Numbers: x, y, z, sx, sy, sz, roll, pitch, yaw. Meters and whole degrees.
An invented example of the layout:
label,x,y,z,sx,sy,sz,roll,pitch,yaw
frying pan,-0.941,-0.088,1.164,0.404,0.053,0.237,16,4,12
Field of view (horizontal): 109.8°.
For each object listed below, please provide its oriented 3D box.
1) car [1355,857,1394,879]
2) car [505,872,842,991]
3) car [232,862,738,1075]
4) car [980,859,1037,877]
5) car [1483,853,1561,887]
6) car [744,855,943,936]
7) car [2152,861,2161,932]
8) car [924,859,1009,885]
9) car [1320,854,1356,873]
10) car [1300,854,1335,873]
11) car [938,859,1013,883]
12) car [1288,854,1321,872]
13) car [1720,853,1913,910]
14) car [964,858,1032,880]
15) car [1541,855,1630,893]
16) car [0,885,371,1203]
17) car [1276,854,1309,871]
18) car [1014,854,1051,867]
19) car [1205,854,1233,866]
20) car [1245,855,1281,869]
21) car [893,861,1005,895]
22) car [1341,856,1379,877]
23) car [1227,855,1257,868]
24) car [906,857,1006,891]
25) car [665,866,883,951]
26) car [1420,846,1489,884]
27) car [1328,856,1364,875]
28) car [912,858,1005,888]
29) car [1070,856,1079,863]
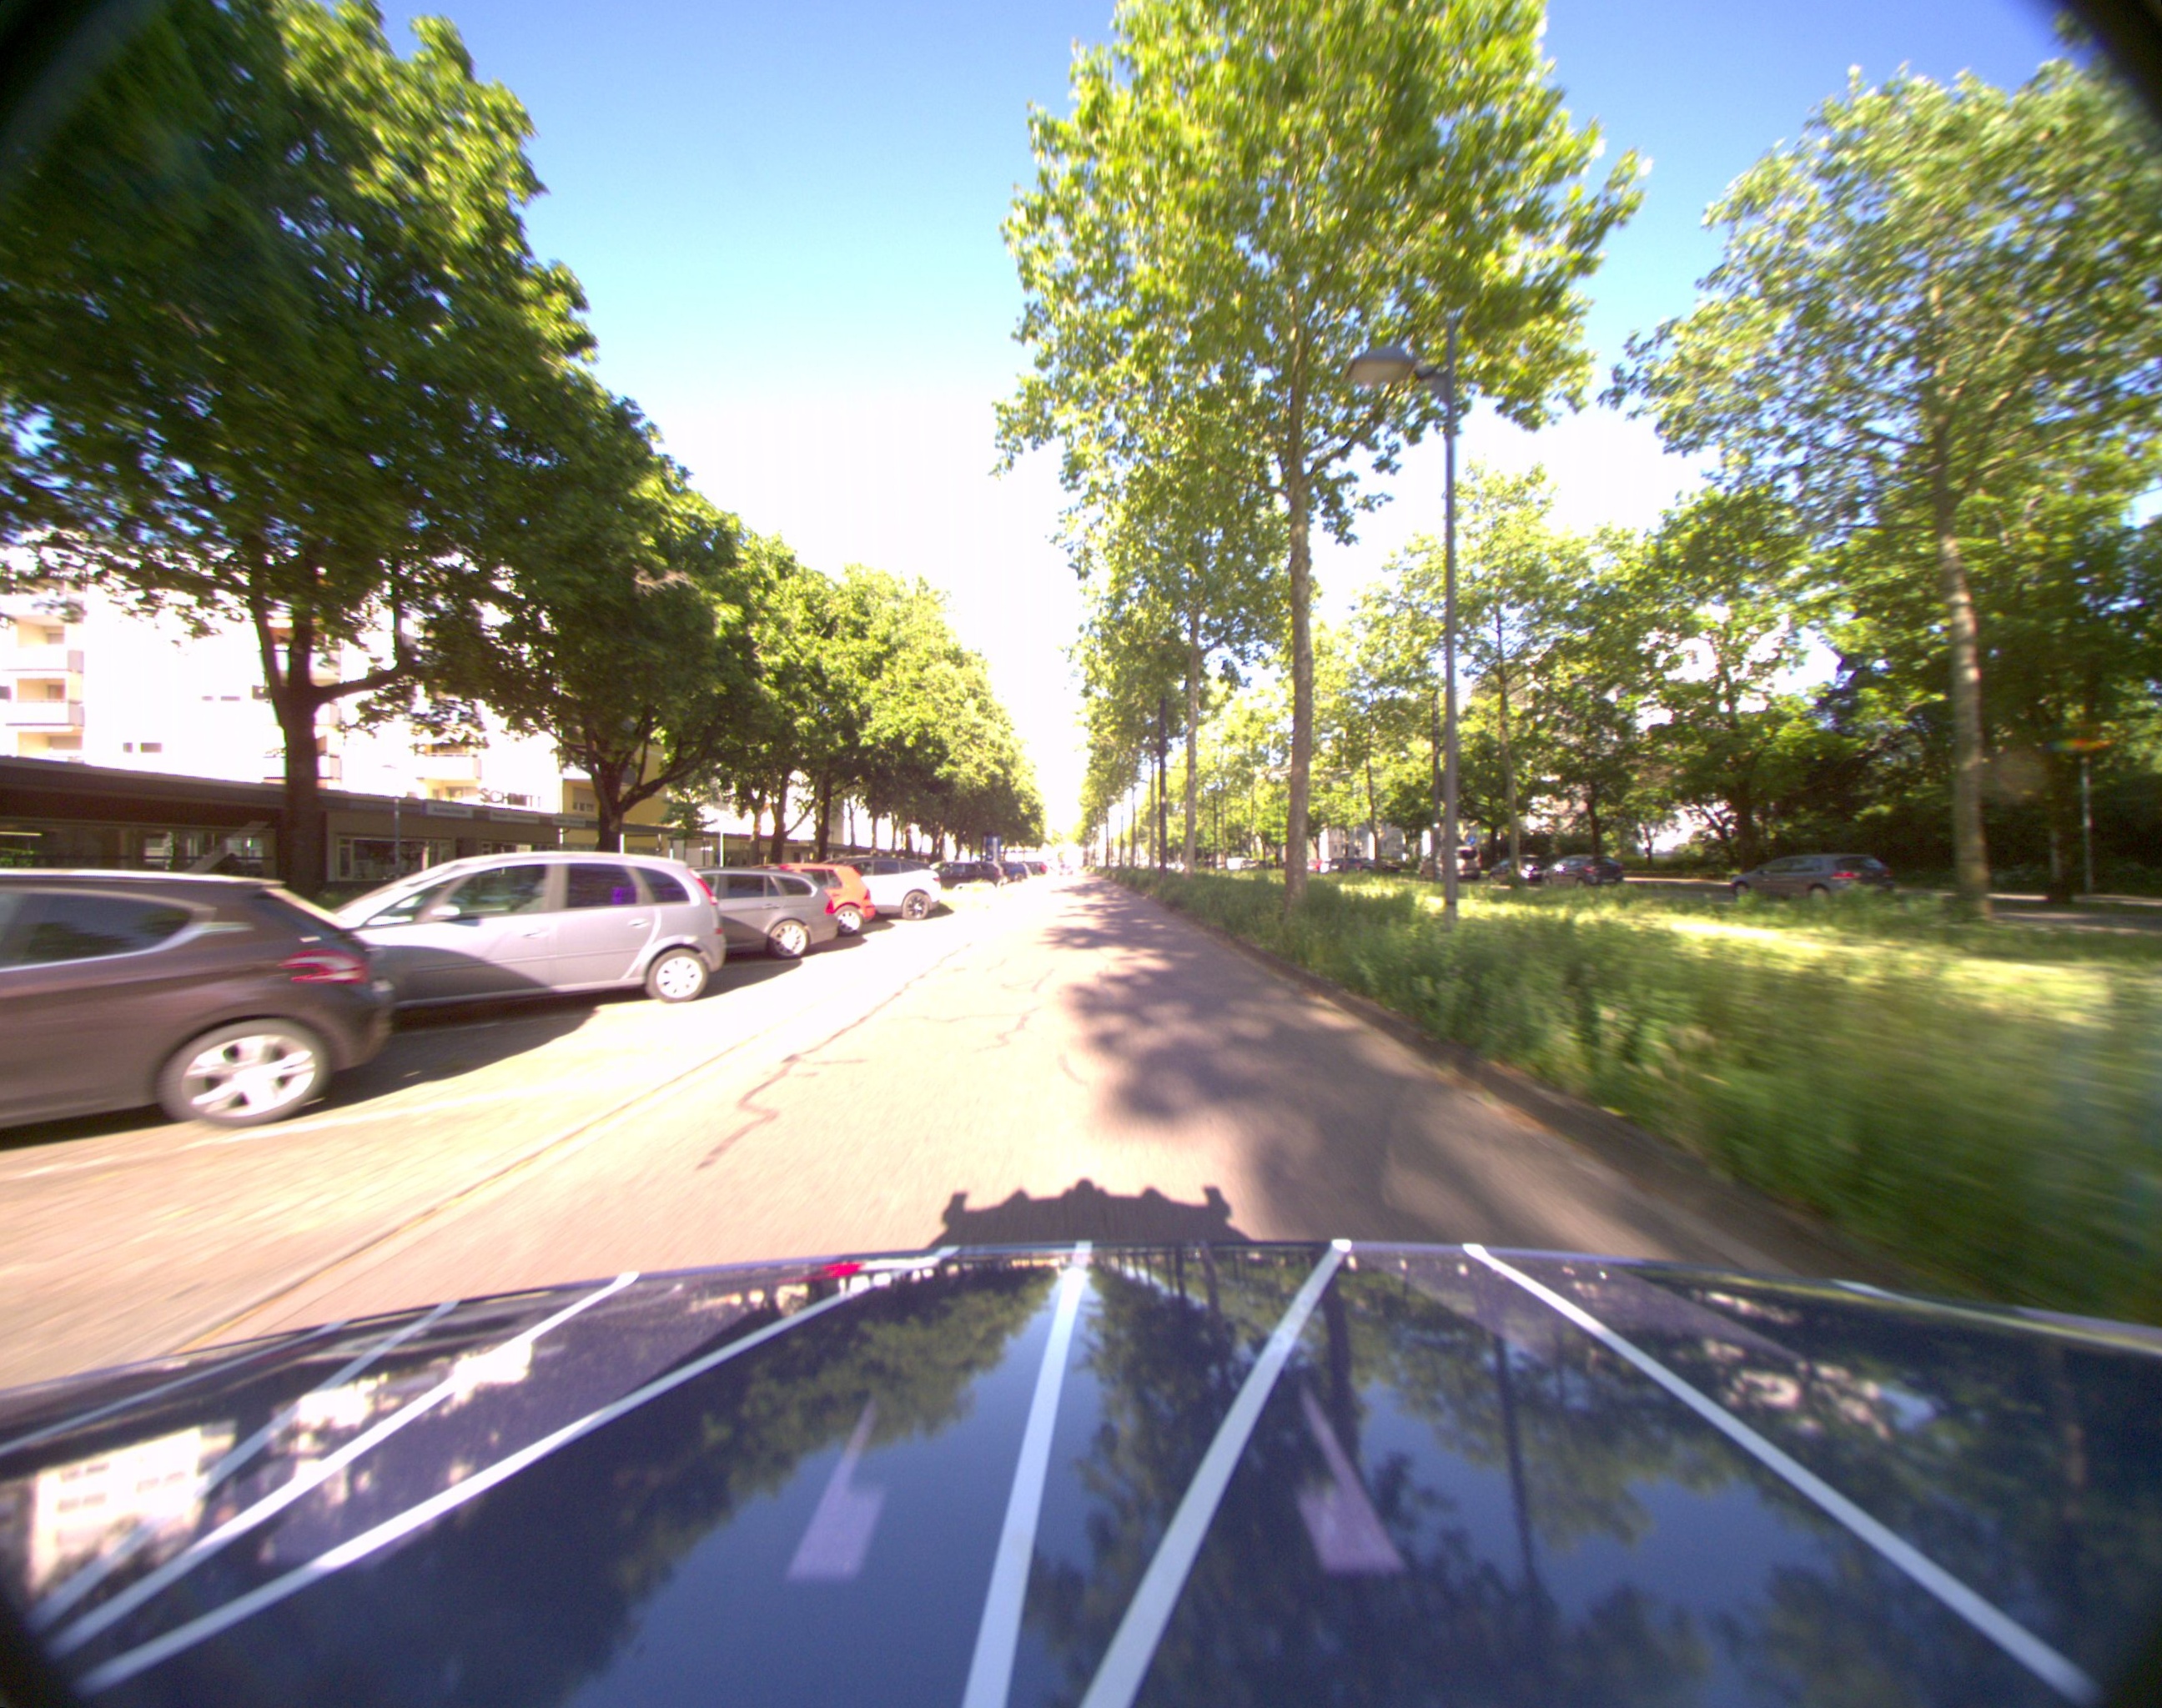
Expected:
label,x,y,z,sx,sy,sz,roll,pitch,yaw
car,23.490,1.111,60.759,1.884,1.558,4.008,-1,1,37
car,-5.885,0.998,11.333,1.681,1.395,4.096,1,0,44
car,-5.727,0.906,7.680,1.695,1.581,3.731,1,0,44
car,-5.974,1.152,63.183,1.894,1.440,4.510,1,0,44
car,22.684,0.790,39.260,1.754,1.487,3.817,-4,1,1
car,-5.752,0.911,18.783,1.862,1.666,4.311,1,2,44
car,22.449,0.802,13.292,1.723,1.410,4.024,-4,0,1
car,-6.725,1.043,44.990,1.994,1.440,4.687,1,0,44
car,24.856,0.888,73.447,1.895,1.699,4.509,-1,1,37
car,23.687,0.965,75.914,1.895,1.699,4.509,-1,1,37
car,-6.658,1.057,48.331,1.894,1.440,4.510,1,0,44
car,23.720,0.929,80.523,1.895,1.699,4.509,-1,1,37
car,22.592,0.775,23.601,1.843,1.480,4.179,-4,0,-1
car,-5.725,1.061,52.729,1.894,1.440,4.510,1,0,44
car,22.416,0.836,33.930,1.545,1.480,3.570,-4,0,1
car,-6.233,0.955,3.874,1.677,1.450,3.754,1,0,45
car,23.361,0.898,83.806,1.895,1.699,4.509,-1,1,37
car,-6.220,0.863,97.755,1.894,1.663,4.510,1,0,44
car,21.452,0.994,118.415,4.006,1.699,1.837,-2,1,-31
car,23.736,1.064,99.011,4.507,1.699,1.895,-2,1,-31
car,-5.941,1.049,34.614,1.994,1.417,4.687,1,0,44
car,23.974,1.061,65.216,1.884,1.558,4.008,-1,1,37
car,23.088,1.009,109.156,4.006,1.699,1.837,-2,1,-31
car,-6.241,0.985,38.307,1.994,1.556,4.687,1,0,44
car,-5.963,0.989,14.955,3.584,1.412,1.706,1,1,-42
car,22.531,0.599,46.022,1.986,2.045,4.278,-4,1,0
car,23.997,1.033,68.720,1.884,1.558,4.008,-1,1,37
car,-6.599,1.006,41.183,1.994,1.512,4.687,1,0,44
car,-1.534,1.352,180.418,1.897,1.623,4.503,-2,0,4
